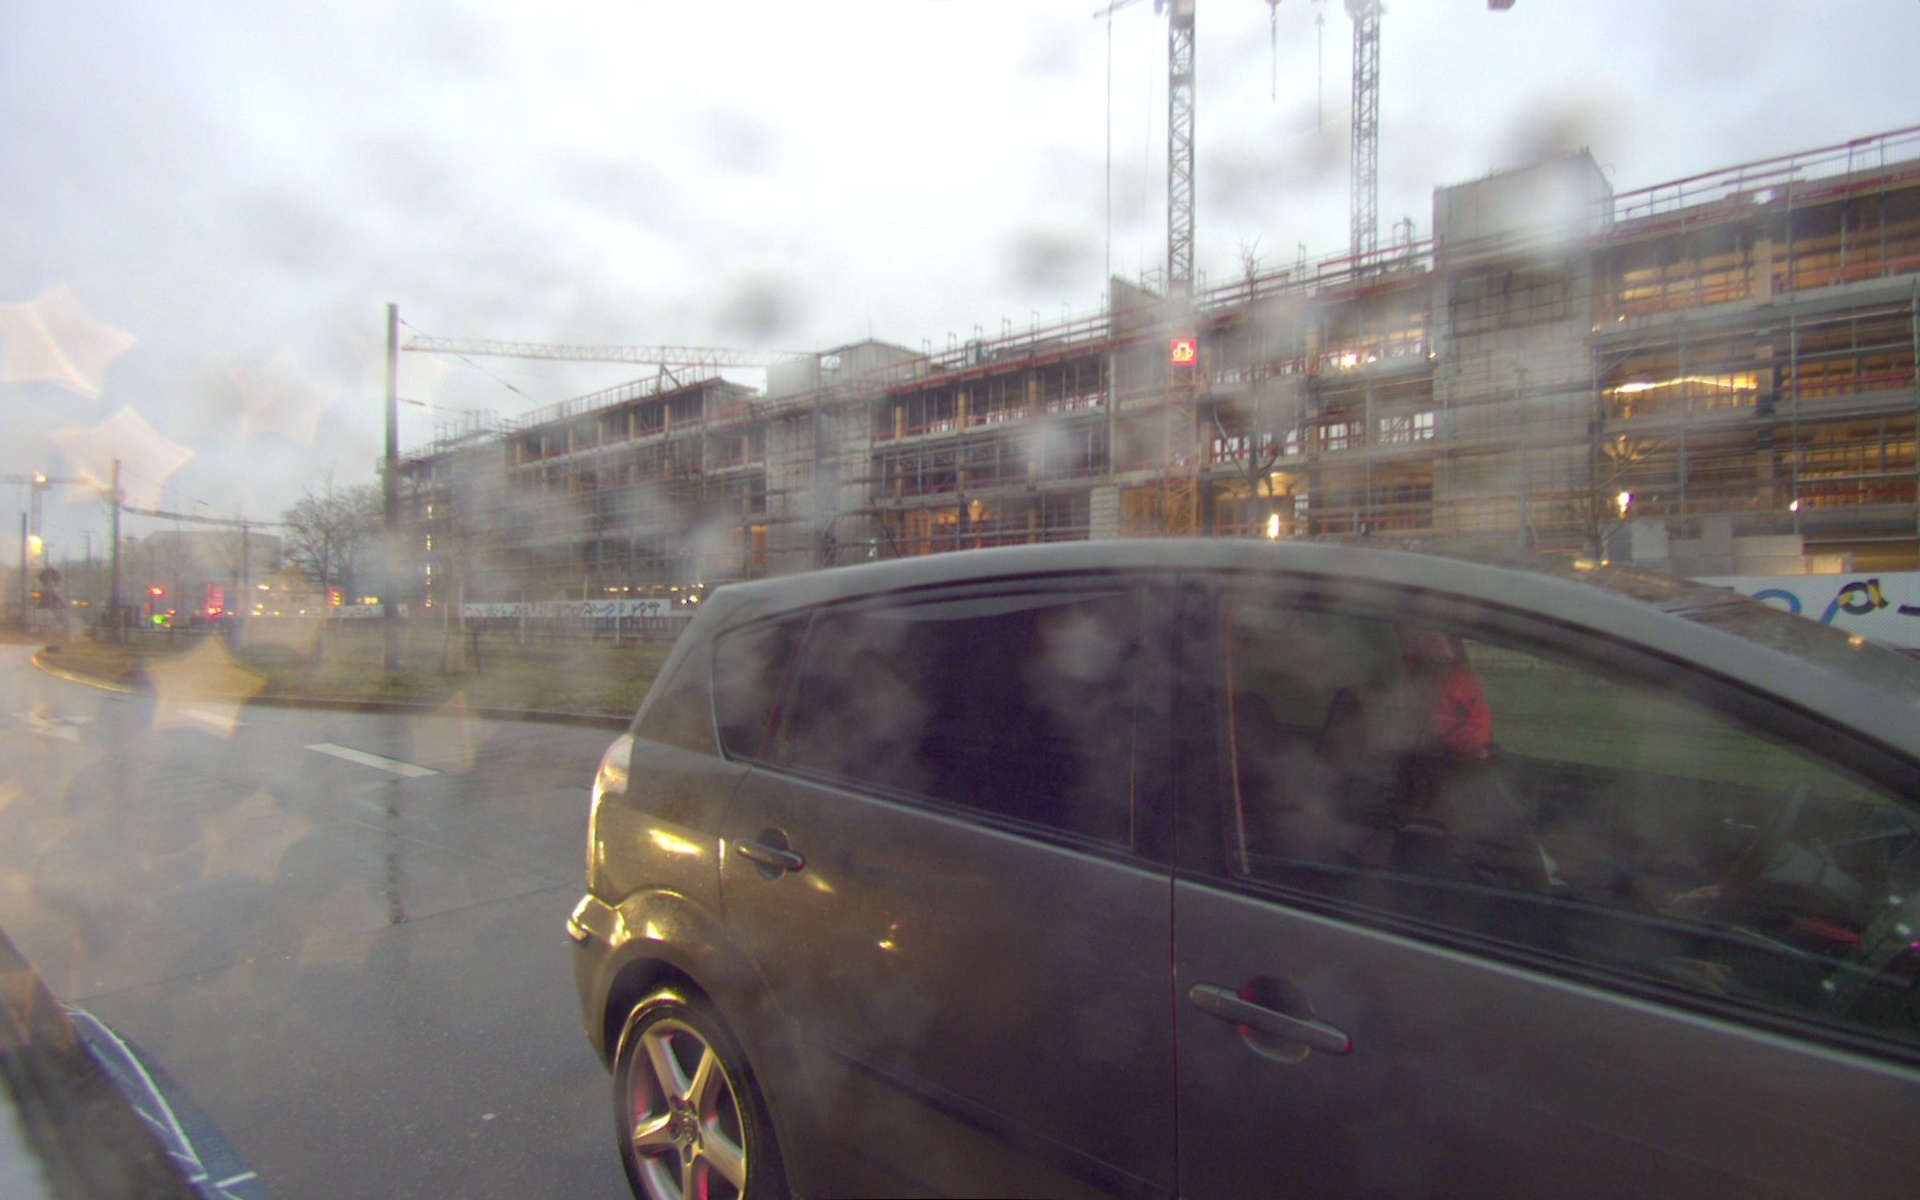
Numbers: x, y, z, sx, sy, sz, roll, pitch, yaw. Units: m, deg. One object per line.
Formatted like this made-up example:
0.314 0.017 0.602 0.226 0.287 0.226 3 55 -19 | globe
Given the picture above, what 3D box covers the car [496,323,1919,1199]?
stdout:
1.009 0.599 1.889 4.131 1.659 1.793 -1 -1 39 | car
